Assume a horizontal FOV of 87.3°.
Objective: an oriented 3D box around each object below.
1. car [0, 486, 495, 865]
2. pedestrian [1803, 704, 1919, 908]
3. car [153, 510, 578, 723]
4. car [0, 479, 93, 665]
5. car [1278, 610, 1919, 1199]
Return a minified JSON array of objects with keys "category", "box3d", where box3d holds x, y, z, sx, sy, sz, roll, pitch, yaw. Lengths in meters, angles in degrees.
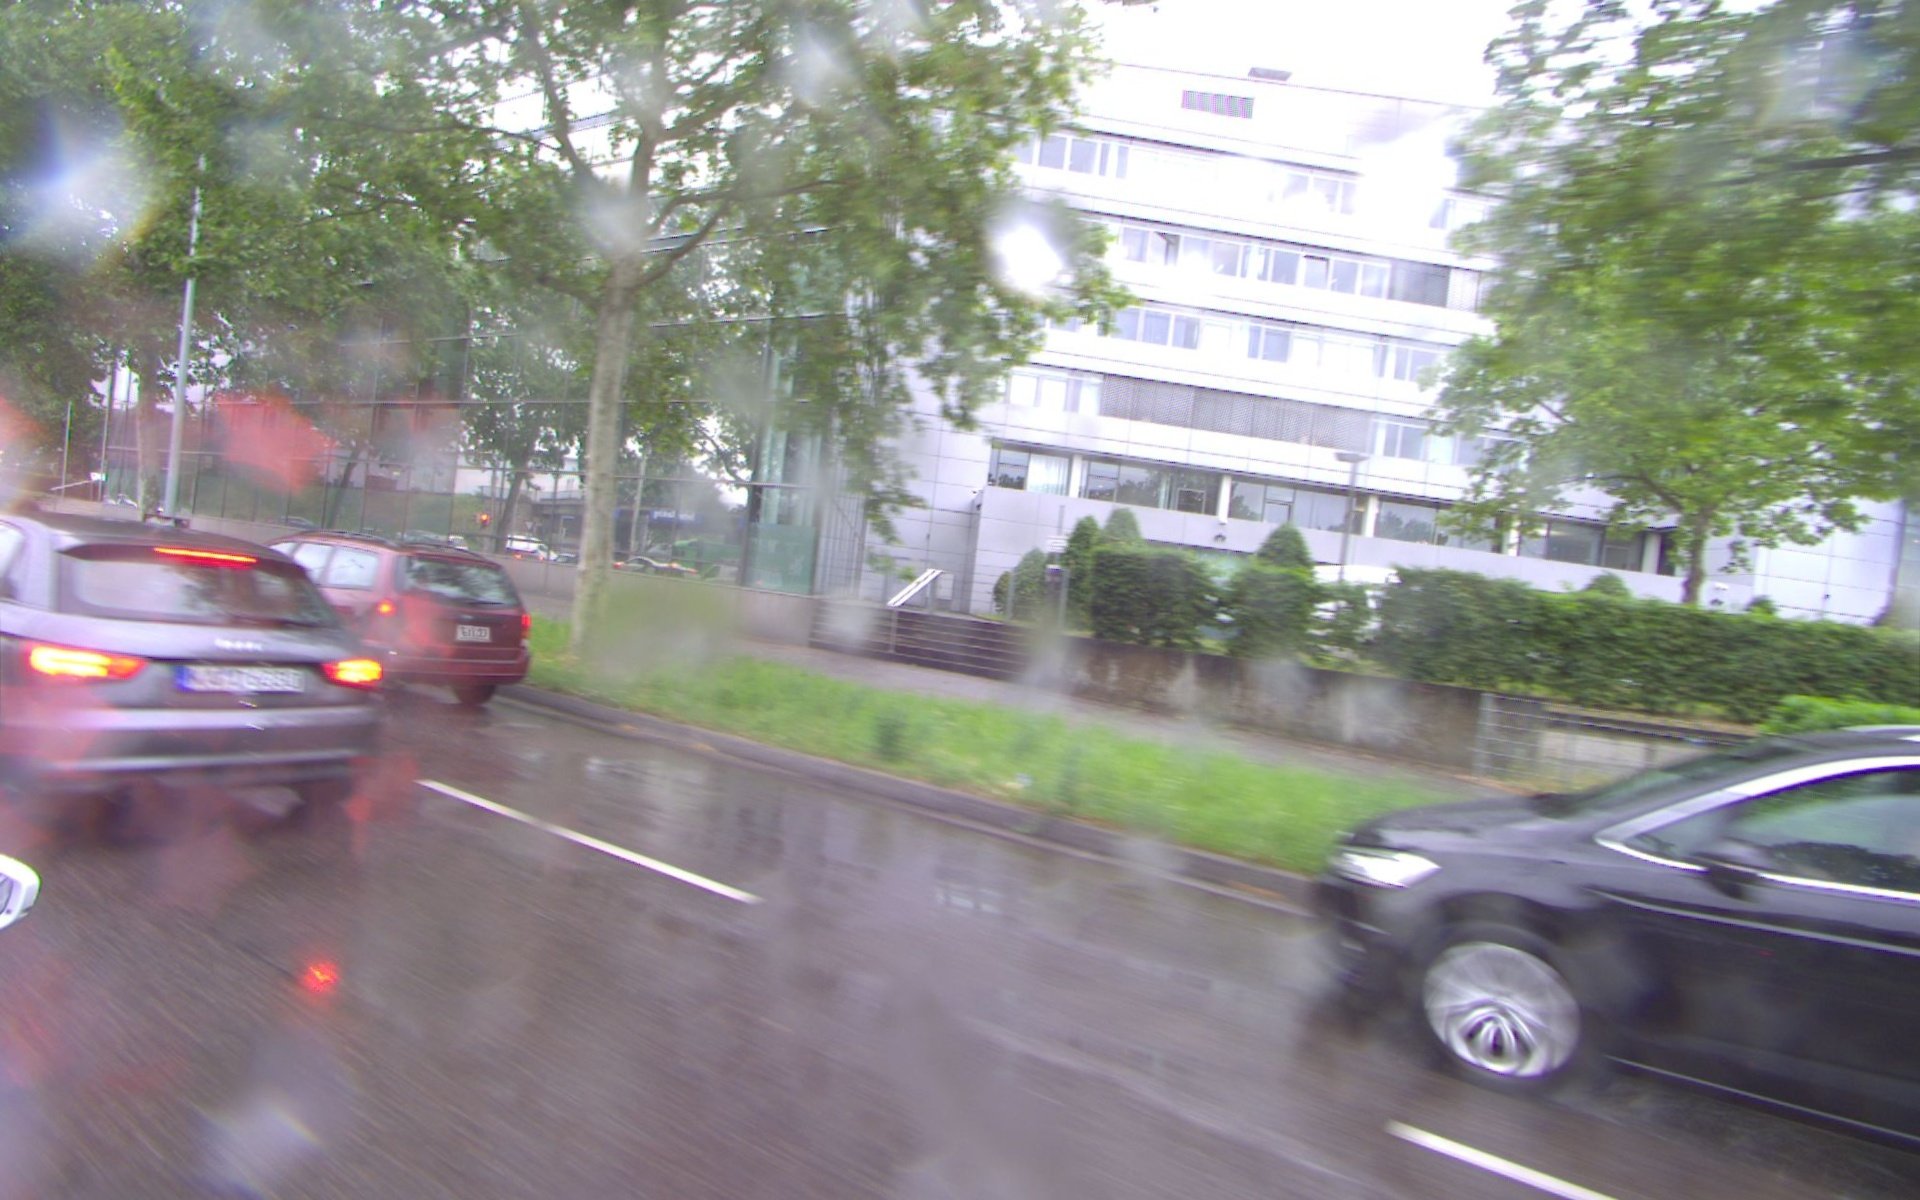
[{"category":"car","box3d":[-4.872,0.196,5.765,3.932,1.469,1.998,7,-1,30]},{"category":"pedestrian","box3d":[9.018,1.982,9.698,1.056,1.783,0.665,7,0,26]},{"category":"car","box3d":[-6.019,0.130,10.106,4.042,1.555,1.843,7,-1,31]},{"category":"car","box3d":[-10.039,-0.490,9.354,3.932,1.569,1.711,8,0,30]},{"category":"car","box3d":[3.639,1.191,3.920,4.120,1.746,1.860,7,-1,30]}]
